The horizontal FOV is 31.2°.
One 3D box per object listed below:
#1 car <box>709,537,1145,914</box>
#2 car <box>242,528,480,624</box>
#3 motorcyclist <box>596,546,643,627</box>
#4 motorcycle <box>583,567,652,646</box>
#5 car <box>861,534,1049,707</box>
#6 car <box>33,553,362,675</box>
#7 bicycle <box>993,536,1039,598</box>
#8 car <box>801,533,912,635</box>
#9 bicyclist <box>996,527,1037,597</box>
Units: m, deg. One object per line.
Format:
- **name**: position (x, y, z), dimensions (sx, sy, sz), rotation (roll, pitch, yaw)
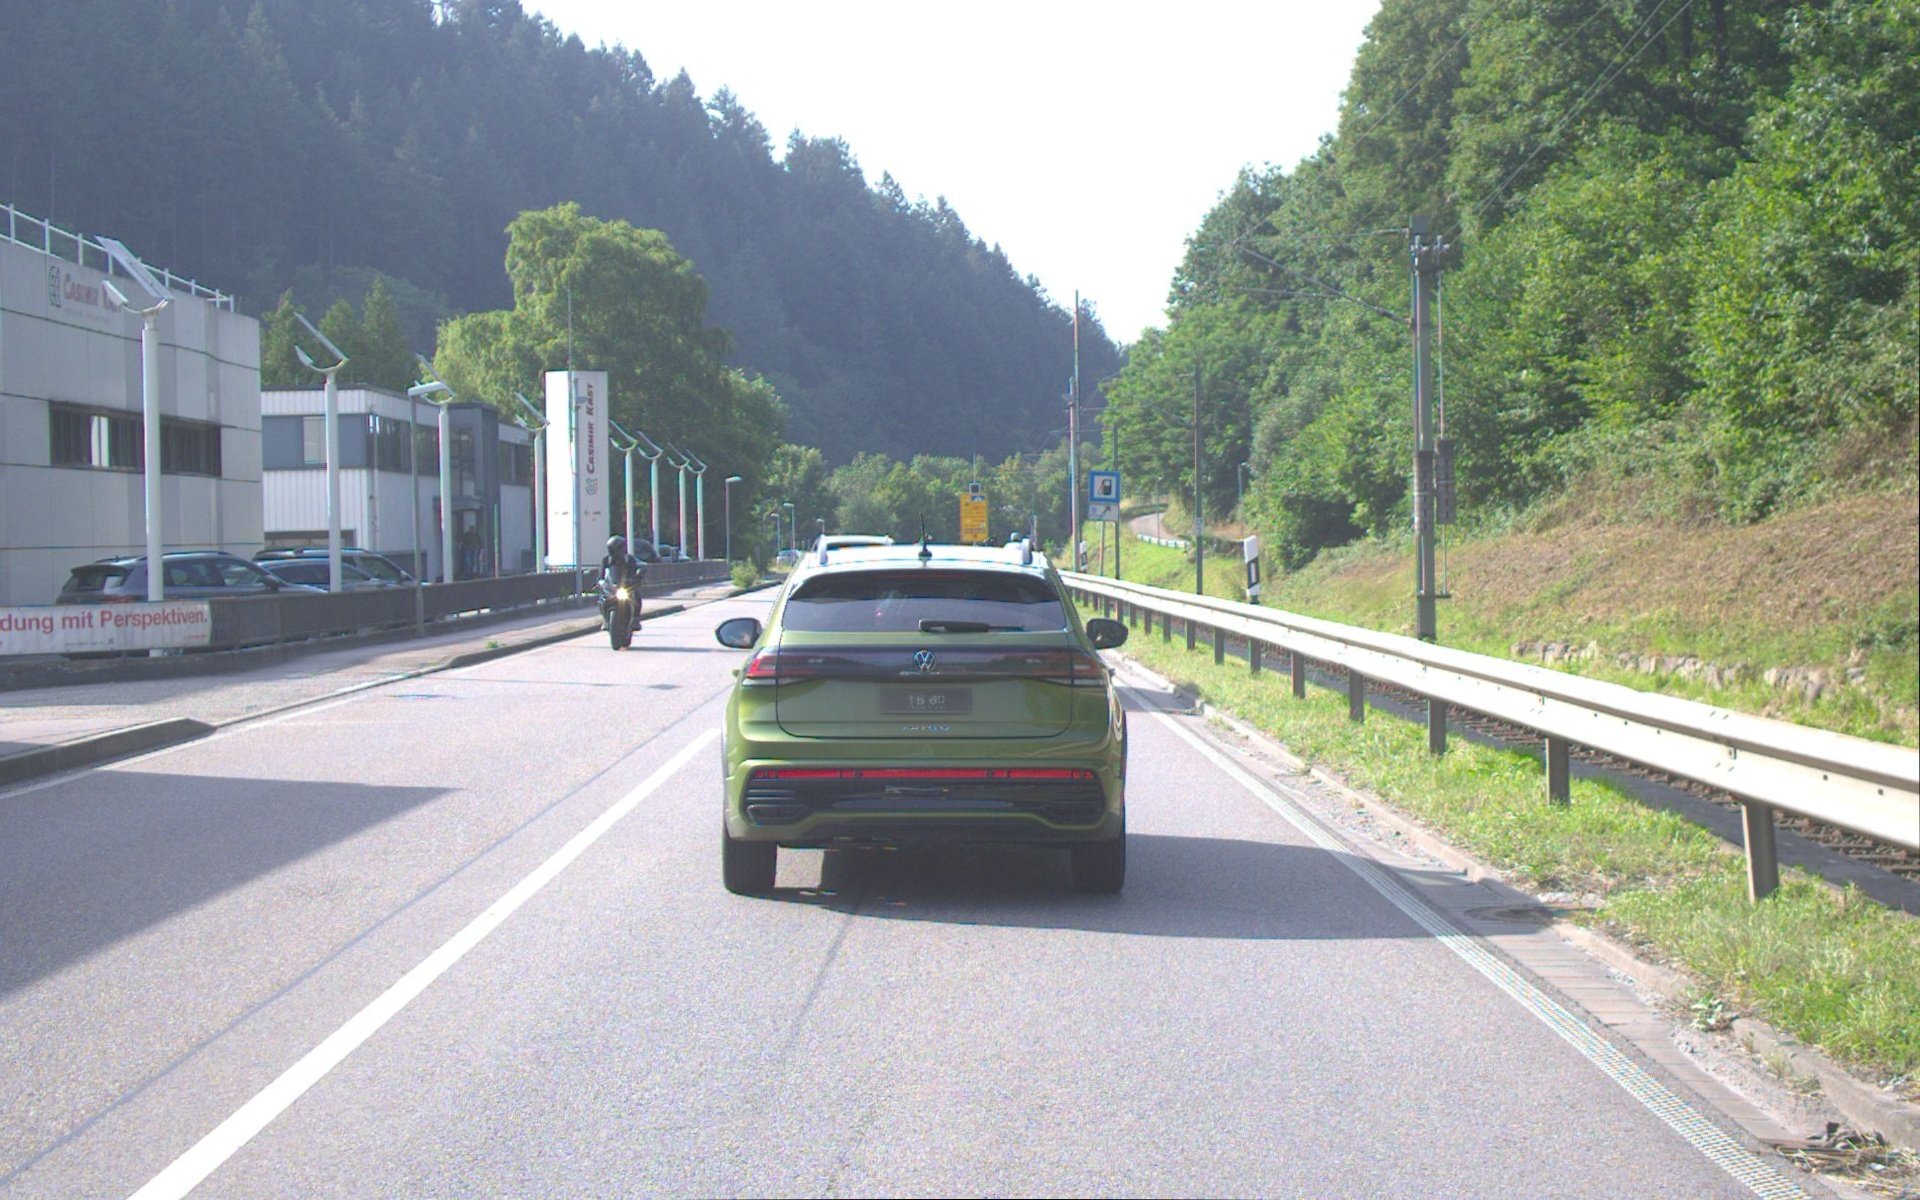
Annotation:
- **car**: position (-0.177, 0.464, 15.759), dimensions (1.739, 1.503, 4.000), rotation (0, 1, -1)
- **car**: position (-11.008, -0.470, 63.391), dimensions (1.780, 1.702, 4.101), rotation (0, 1, 42)
- **motorcyclist**: position (-4.758, -0.199, 48.086), dimensions (0.586, 1.121, 0.637), rotation (0, 1, 0)
- **motorcycle**: position (-4.803, 0.075, 48.319), dimensions (0.741, 1.065, 2.492), rotation (0, 1, -1)
- **car**: position (-0.092, 0.154, 33.804), dimensions (1.739, 1.596, 4.000), rotation (0, 1, -1)
- **car**: position (-10.614, 0.163, 48.038), dimensions (1.887, 1.586, 4.165), rotation (0, 1, 41)
- **bicycle**: position (1.135, -0.682, 70.006), dimensions (0.811, 1.246, 2.123), rotation (-1, 1, -2)
- **car**: position (-1.676, -0.284, 56.177), dimensions (1.739, 1.596, 4.000), rotation (0, 1, -1)
- **bicyclist**: position (1.150, -0.773, 70.011), dimensions (0.781, 1.407, 0.675), rotation (-1, 1, -2)
